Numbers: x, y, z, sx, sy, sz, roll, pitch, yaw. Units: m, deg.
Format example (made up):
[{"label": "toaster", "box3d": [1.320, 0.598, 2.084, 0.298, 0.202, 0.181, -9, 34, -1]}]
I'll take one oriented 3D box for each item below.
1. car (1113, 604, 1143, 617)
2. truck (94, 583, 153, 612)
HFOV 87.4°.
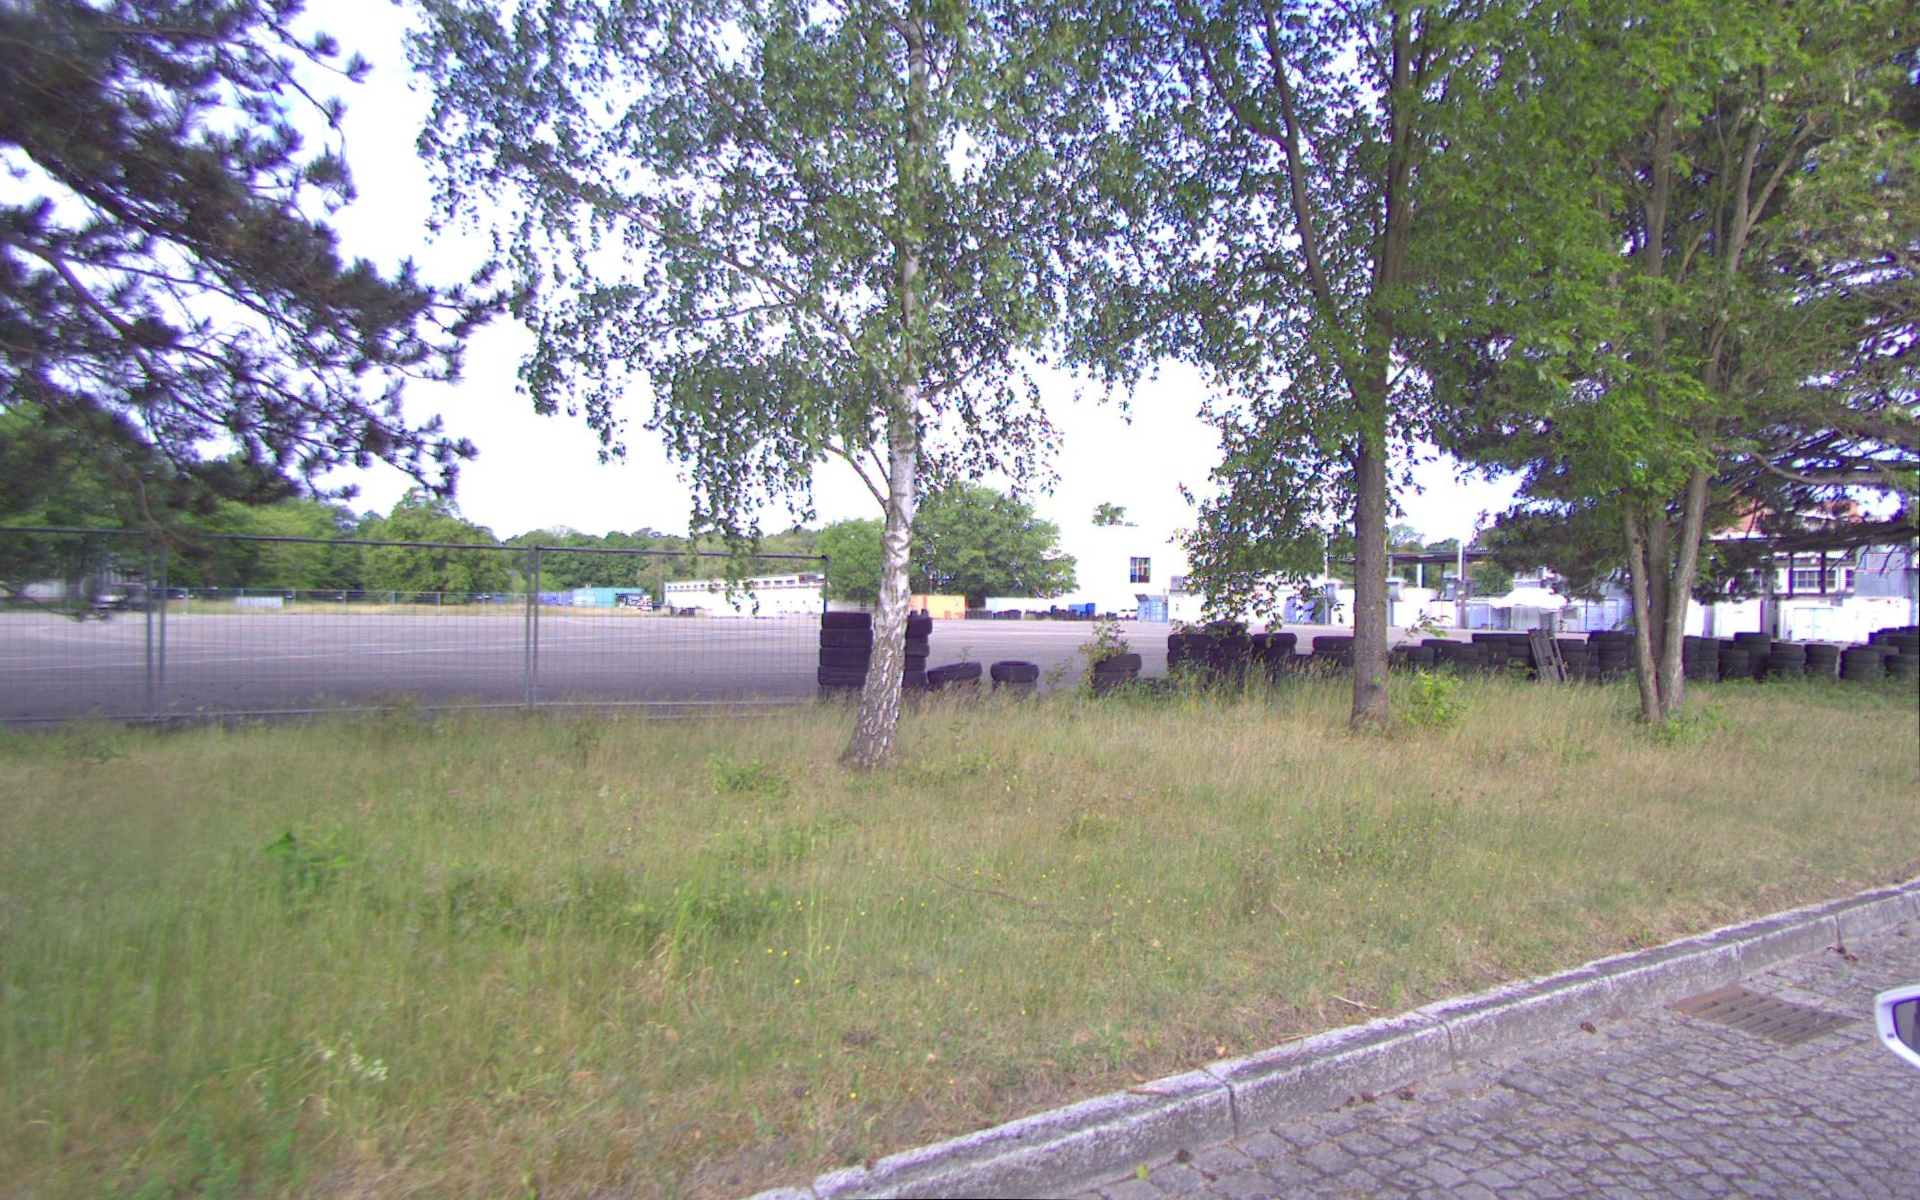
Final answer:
[{"label": "car", "box3d": [21.476, 1.342, 128.670, 1.611, 1.553, 3.947, 1, 0, -30]}, {"label": "truck", "box3d": [-66.182, -0.202, 79.625, 2.345, 2.227, 6.505, 1, 0, -29]}]
